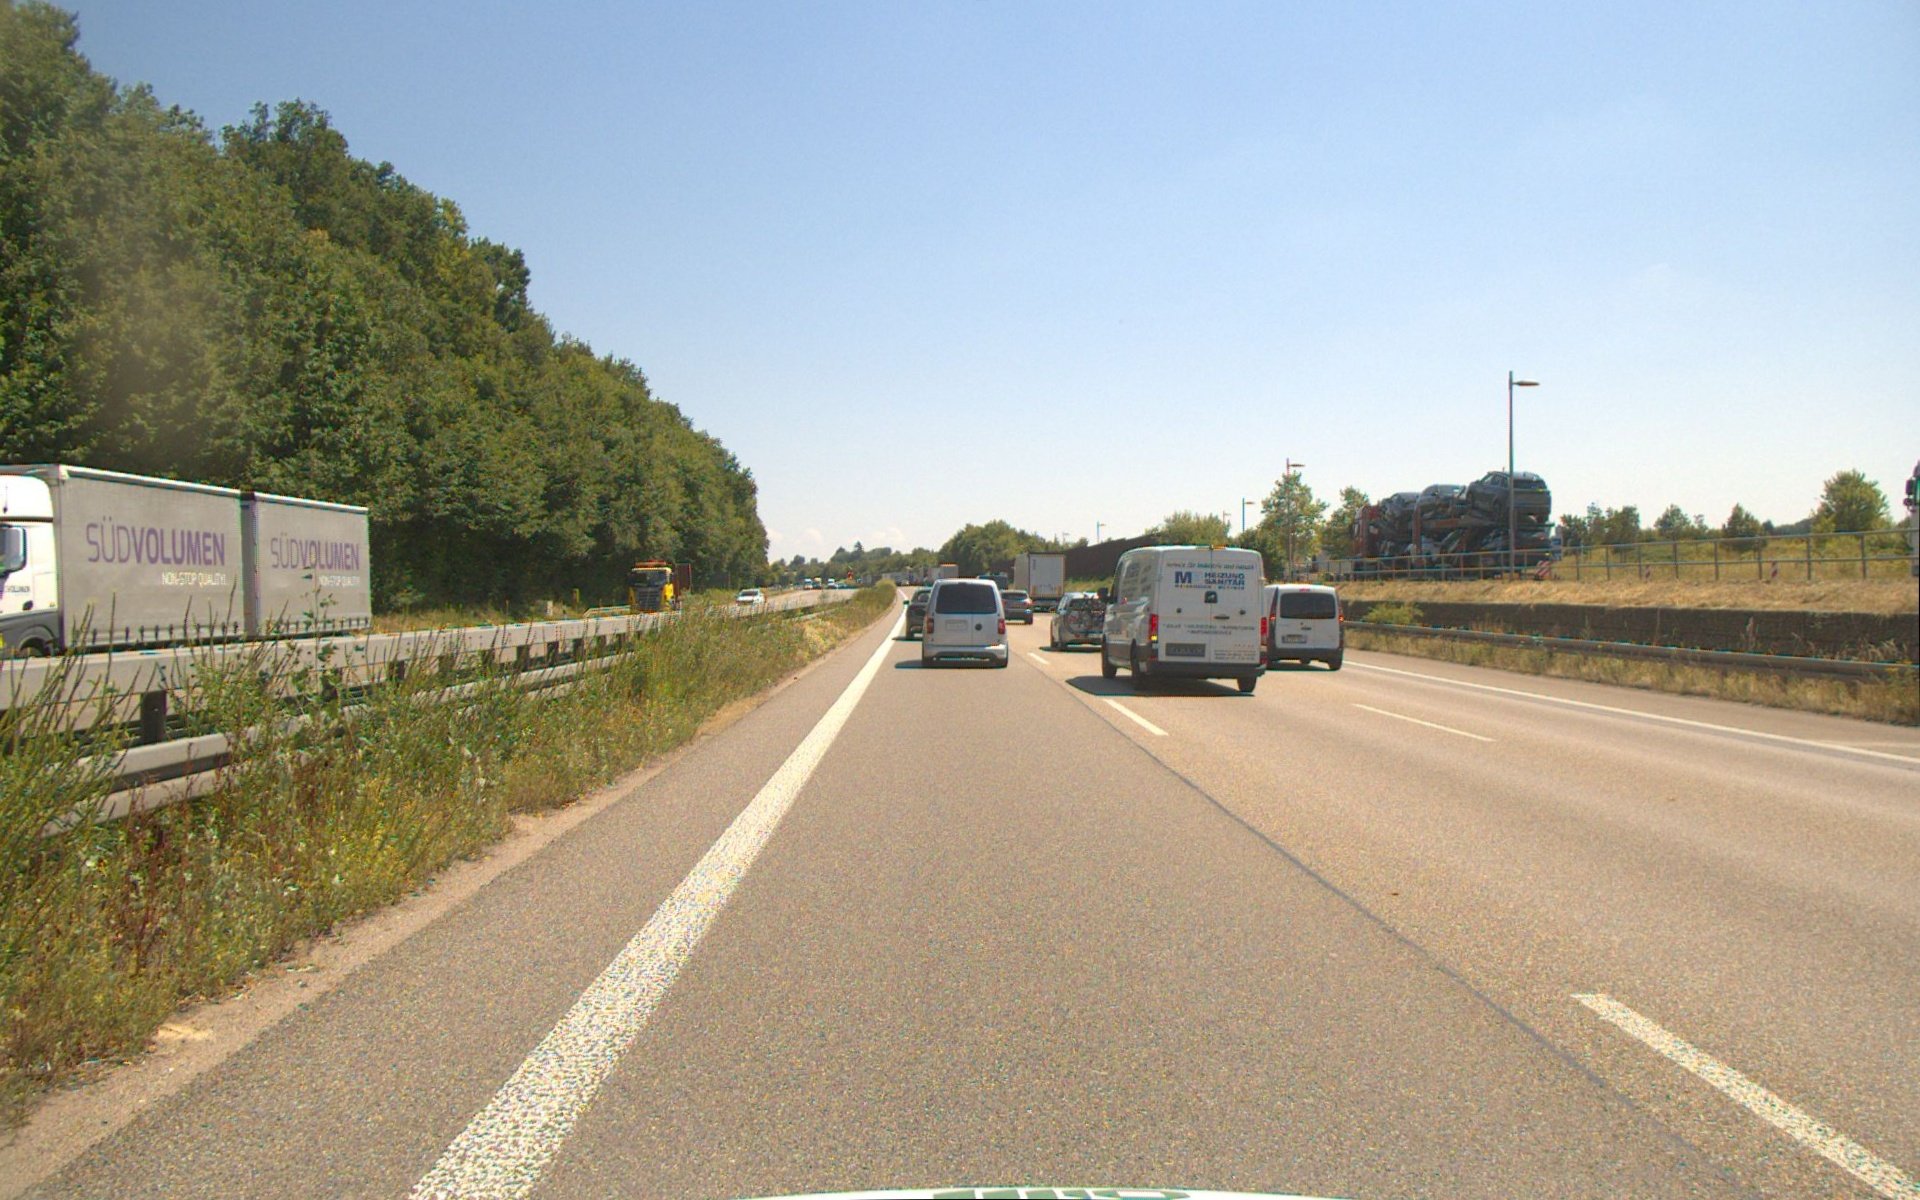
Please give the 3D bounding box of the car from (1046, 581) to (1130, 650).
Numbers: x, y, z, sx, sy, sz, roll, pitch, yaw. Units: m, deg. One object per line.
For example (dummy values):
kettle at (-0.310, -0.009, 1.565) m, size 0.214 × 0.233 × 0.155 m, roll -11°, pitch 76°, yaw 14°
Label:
car at (3.403, 0.402, 44.668) m, size 1.935 × 1.763 × 4.088 m, roll -1°, pitch 0°, yaw 0°

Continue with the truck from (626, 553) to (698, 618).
truck at (-18.466, -0.857, 103.105) m, size 2.726 × 3.804 × 11.154 m, roll 1°, pitch 0°, yaw -2°

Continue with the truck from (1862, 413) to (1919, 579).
truck at (25.803, -2.644, 41.336) m, size 2.990 × 4.154 × 6.397 m, roll 1°, pitch 0°, yaw 0°

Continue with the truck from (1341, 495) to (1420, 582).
truck at (19.759, -2.825, 77.907) m, size 2.549 × 3.894 × 3.999 m, roll 1°, pitch 0°, yaw -1°

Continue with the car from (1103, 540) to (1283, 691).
car at (3.803, 0.244, 28.049) m, size 2.137 × 2.293 × 5.361 m, roll 1°, pitch 0°, yaw -2°

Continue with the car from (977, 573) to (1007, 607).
car at (1.834, -0.565, 94.952) m, size 1.640 × 1.925 × 4.088 m, roll -1°, pitch 0°, yaw 0°

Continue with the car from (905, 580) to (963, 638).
car at (-0.791, 0.276, 52.329) m, size 1.709 × 1.731 × 4.089 m, roll -1°, pitch 0°, yaw 1°

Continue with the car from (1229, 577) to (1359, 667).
car at (7.340, 0.462, 36.759) m, size 1.911 × 1.870 × 4.177 m, roll -1°, pitch 0°, yaw -2°

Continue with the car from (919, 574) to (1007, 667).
car at (0.078, 0.408, 34.654) m, size 1.709 × 1.795 × 4.088 m, roll -1°, pitch 0°, yaw 0°

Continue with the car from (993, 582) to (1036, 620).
car at (2.495, 0.034, 76.770) m, size 1.863 × 1.701 × 4.088 m, roll -1°, pitch 0°, yaw 0°

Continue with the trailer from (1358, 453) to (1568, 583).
trailer at (19.963, -2.995, 67.559) m, size 2.553 × 4.332 × 18.416 m, roll 1°, pitch 0°, yaw -1°

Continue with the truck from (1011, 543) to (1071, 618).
truck at (5.702, -1.314, 119.193) m, size 3.710 × 5.087 × 12.518 m, roll 1°, pitch 0°, yaw 0°

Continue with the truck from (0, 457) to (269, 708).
truck at (-17.336, -0.290, 32.263) m, size 3.384 × 4.064 × 11.118 m, roll -1°, pitch 0°, yaw -2°

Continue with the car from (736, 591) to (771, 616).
car at (-15.424, 0.262, 123.679) m, size 1.953 × 1.699 × 5.609 m, roll -2°, pitch 0°, yaw -1°

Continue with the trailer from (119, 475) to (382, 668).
trailer at (-17.605, -0.645, 41.809) m, size 3.384 × 4.354 × 7.966 m, roll 1°, pitch 0°, yaw -2°
